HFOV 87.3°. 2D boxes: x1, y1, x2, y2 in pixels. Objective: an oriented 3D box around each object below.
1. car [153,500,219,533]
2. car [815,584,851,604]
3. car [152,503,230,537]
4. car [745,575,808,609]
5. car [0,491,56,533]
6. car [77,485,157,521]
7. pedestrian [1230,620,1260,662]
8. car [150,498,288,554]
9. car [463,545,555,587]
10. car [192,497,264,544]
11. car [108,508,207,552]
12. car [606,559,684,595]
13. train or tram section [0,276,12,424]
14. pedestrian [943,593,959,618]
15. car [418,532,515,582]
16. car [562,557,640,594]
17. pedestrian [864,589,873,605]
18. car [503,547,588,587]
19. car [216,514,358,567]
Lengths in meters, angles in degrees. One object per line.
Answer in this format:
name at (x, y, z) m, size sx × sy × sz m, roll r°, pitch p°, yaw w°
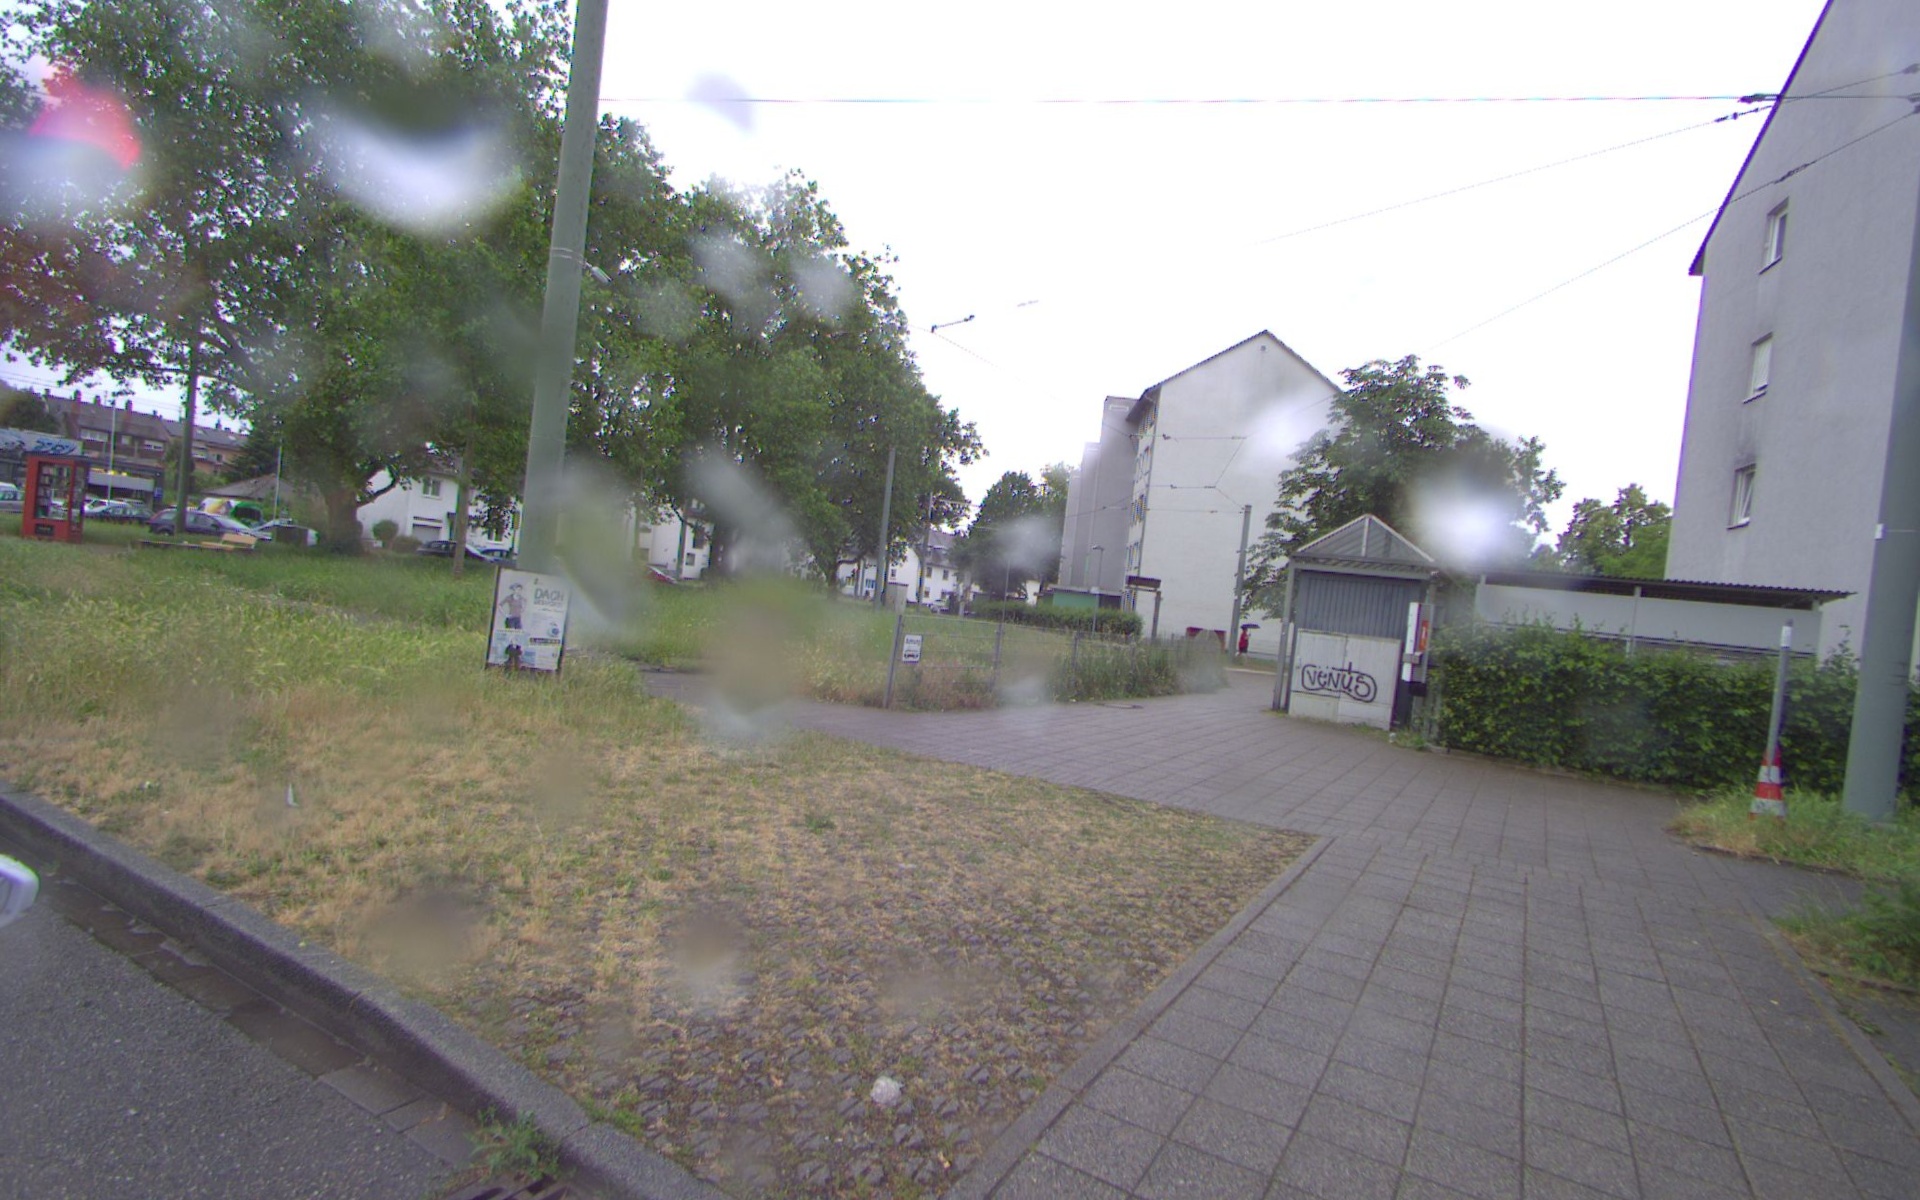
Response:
car at (-62.126, -6.701, 80.763) m, size 3.924 × 2.037 × 2.002 m, roll 7°, pitch -2°, yaw 14°
car at (-14.096, -0.624, 111.604) m, size 1.859 × 1.679 × 3.692 m, roll 6°, pitch -2°, yaw 32°
car at (-55.470, -5.761, 72.597) m, size 1.816 × 1.658 × 3.995 m, roll 6°, pitch -2°, yaw 32°
car at (-12.746, -0.546, 70.099) m, size 3.843 × 1.785 × 1.812 m, roll 7°, pitch -2°, yaw 0°
car at (-46.585, -4.428, 48.720) m, size 1.859 × 1.720 × 3.692 m, roll 6°, pitch -2°, yaw 32°
car at (-61.535, -7.061, 73.500) m, size 1.968 × 1.811 × 3.992 m, roll 6°, pitch -2°, yaw 34°
pedestrian at (12.454, 1.804, 43.980) m, size 0.806 × 1.674 × 0.889 m, roll 6°, pitch -1°, yaw 41°
car at (-29.194, -2.894, 39.779) m, size 3.855 × 1.512 × 1.806 m, roll 8°, pitch -2°, yaw -15°
car at (-22.813, -1.684, 51.059) m, size 3.855 × 1.512 × 1.806 m, roll 8°, pitch -2°, yaw -15°
car at (-46.748, -5.054, 64.261) m, size 4.280 × 2.471 × 1.998 m, roll 6°, pitch -2°, yaw 31°
car at (-43.430, -3.780, 54.504) m, size 1.859 × 1.720 × 3.692 m, roll 6°, pitch -2°, yaw 32°
car at (-18.632, -1.332, 59.586) m, size 3.842 × 1.513 × 1.812 m, roll 7°, pitch -2°, yaw 3°
train or tram section at (-16.182, -2.277, 9.189) m, size 11.978 × 3.597 × 2.768 m, roll 6°, pitch 0°, yaw -1°
pedestrian at (-0.696, 0.455, 79.138) m, size 1.022 × 1.811 × 0.818 m, roll 7°, pitch -1°, yaw -3°
car at (-23.732, -2.040, 48.525) m, size 3.710 × 1.819 × 1.806 m, roll 8°, pitch -2°, yaw -15°
car at (-20.114, -1.358, 56.529) m, size 3.855 × 1.512 × 1.806 m, roll 8°, pitch -2°, yaw -15°
pedestrian at (-10.467, -0.318, 114.706) m, size 0.537 × 1.664 × 0.699 m, roll 6°, pitch -1°, yaw 38°
car at (-21.981, -1.726, 53.495) m, size 3.855 × 1.512 × 1.806 m, roll 8°, pitch -2°, yaw -15°
car at (-25.162, -2.205, 37.706) m, size 1.819 × 1.300 × 3.987 m, roll 6°, pitch -3°, yaw 39°
